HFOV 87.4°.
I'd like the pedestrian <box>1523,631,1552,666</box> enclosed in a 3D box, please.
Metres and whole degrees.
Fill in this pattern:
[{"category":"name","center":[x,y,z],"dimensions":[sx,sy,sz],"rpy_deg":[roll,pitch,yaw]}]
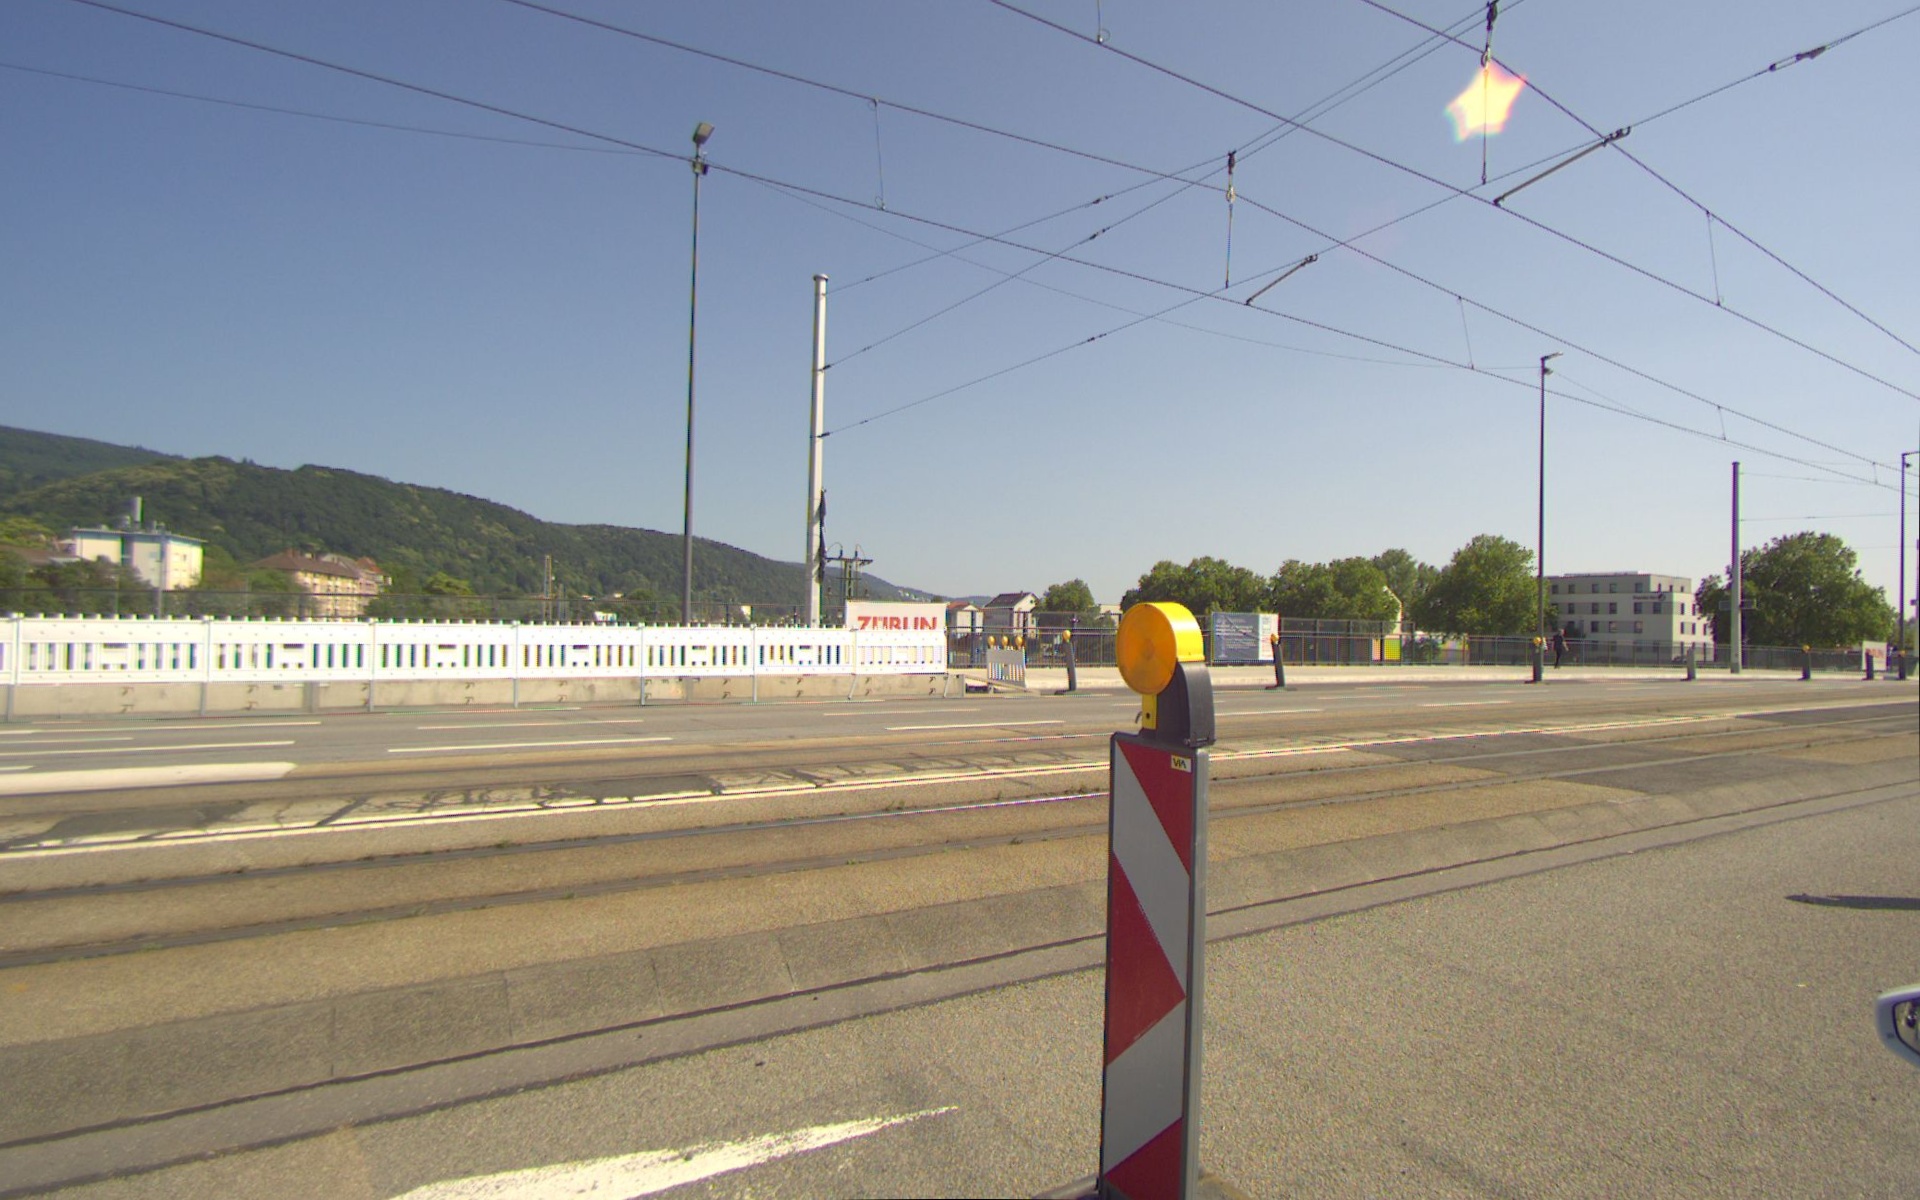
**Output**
[{"category":"pedestrian","center":[26.190,2.201,45.543],"dimensions":[0.878,1.565,0.716],"rpy_deg":[2,1,-30]}]

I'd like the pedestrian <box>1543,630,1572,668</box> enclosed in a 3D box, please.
[{"category":"pedestrian","center":[26.640,2.187,44.798],"dimensions":[0.884,1.663,0.740],"rpy_deg":[2,1,-30]}]
